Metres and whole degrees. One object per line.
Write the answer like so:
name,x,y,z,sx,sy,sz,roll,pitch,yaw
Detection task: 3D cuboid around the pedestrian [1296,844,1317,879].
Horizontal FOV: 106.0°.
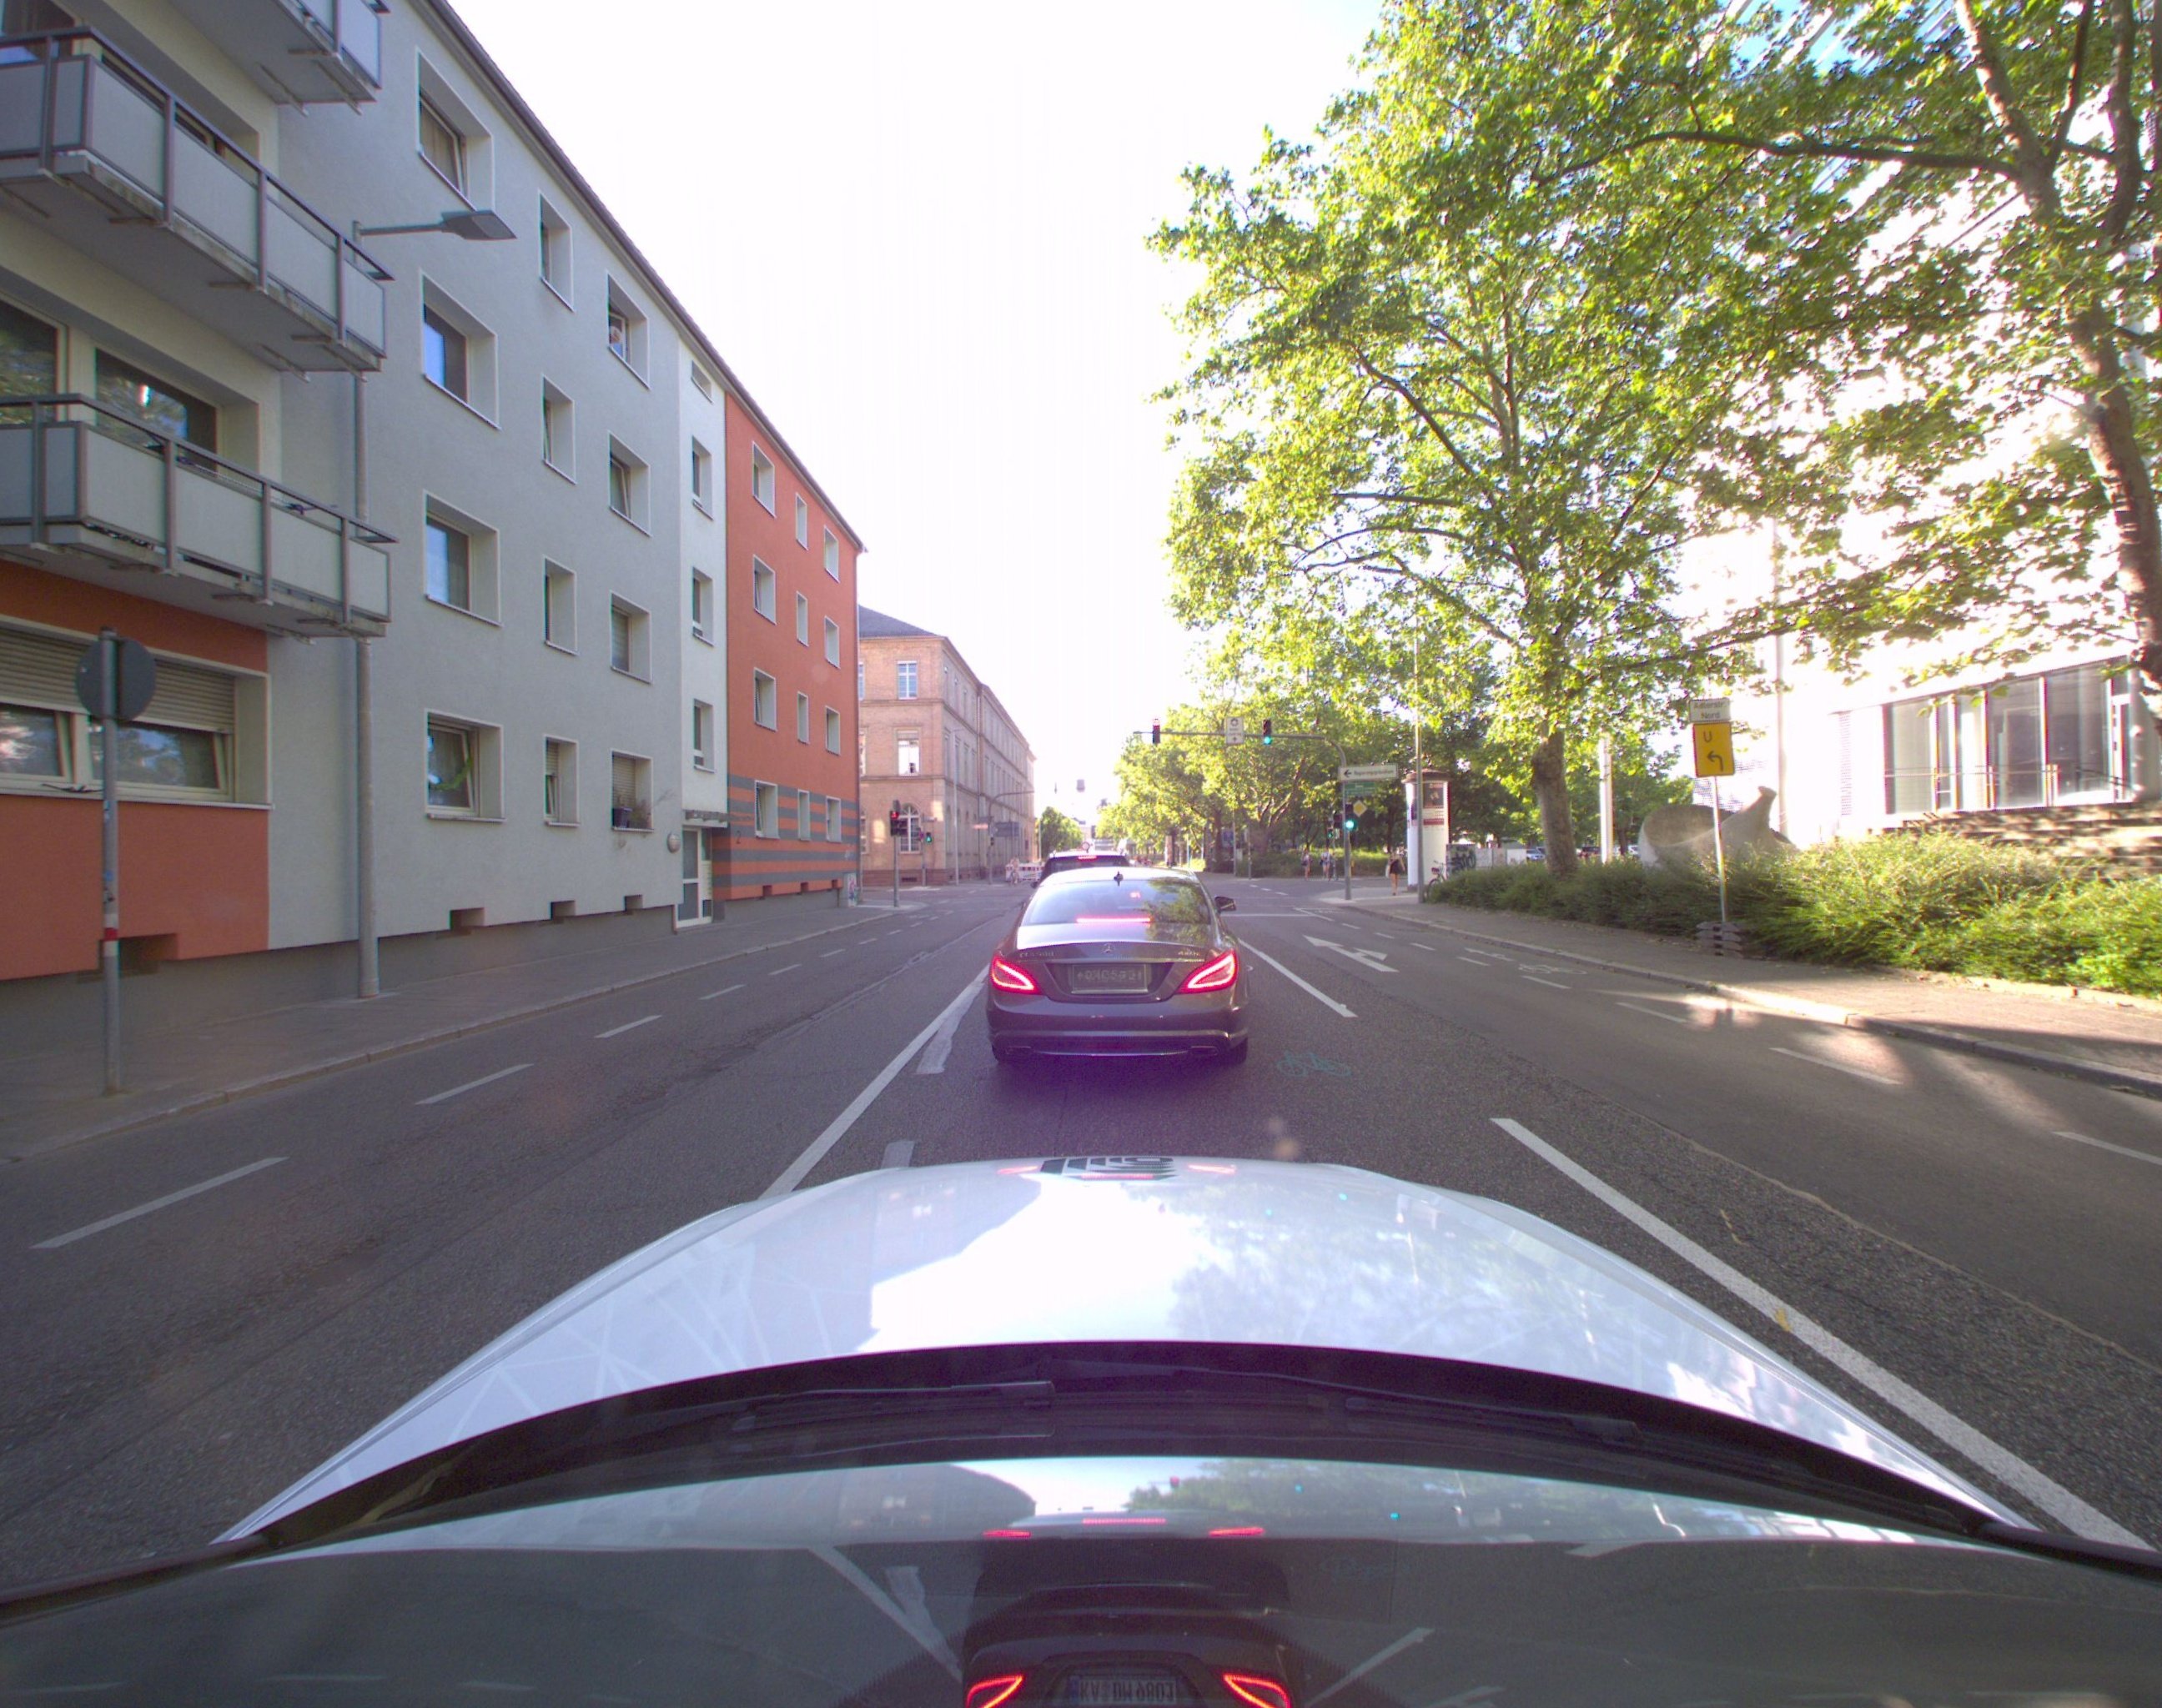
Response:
pedestrian,11.852,0.396,42.772,0.730,1.808,0.908,-2,-2,-4

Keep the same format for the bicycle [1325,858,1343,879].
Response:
bicycle,13.235,0.756,42.618,0.521,1.100,1.744,0,-1,6

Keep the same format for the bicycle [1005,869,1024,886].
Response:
bicycle,-3.552,1.257,43.810,0.545,0.891,1.873,-1,-1,10

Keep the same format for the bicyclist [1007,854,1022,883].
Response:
bicyclist,-3.569,0.794,43.853,0.644,1.558,0.809,-1,-1,10

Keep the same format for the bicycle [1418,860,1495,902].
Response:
bicycle,10.808,0.767,23.494,1.969,1.190,0.528,0,-1,0

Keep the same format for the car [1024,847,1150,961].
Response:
car,0.208,0.740,13.853,1.801,1.612,4.003,-1,-1,3

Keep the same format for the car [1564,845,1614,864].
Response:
car,39.749,0.041,63.815,1.624,1.483,3.796,0,-1,1

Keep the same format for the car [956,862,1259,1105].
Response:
car,0.444,0.793,7.179,1.833,1.429,4.527,-1,0,8

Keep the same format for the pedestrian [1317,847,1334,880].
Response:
pedestrian,12.802,0.484,42.682,0.680,1.697,0.972,0,-1,5

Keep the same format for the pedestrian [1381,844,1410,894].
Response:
pedestrian,10.617,0.499,27.508,0.791,1.630,0.912,-3,-2,19
